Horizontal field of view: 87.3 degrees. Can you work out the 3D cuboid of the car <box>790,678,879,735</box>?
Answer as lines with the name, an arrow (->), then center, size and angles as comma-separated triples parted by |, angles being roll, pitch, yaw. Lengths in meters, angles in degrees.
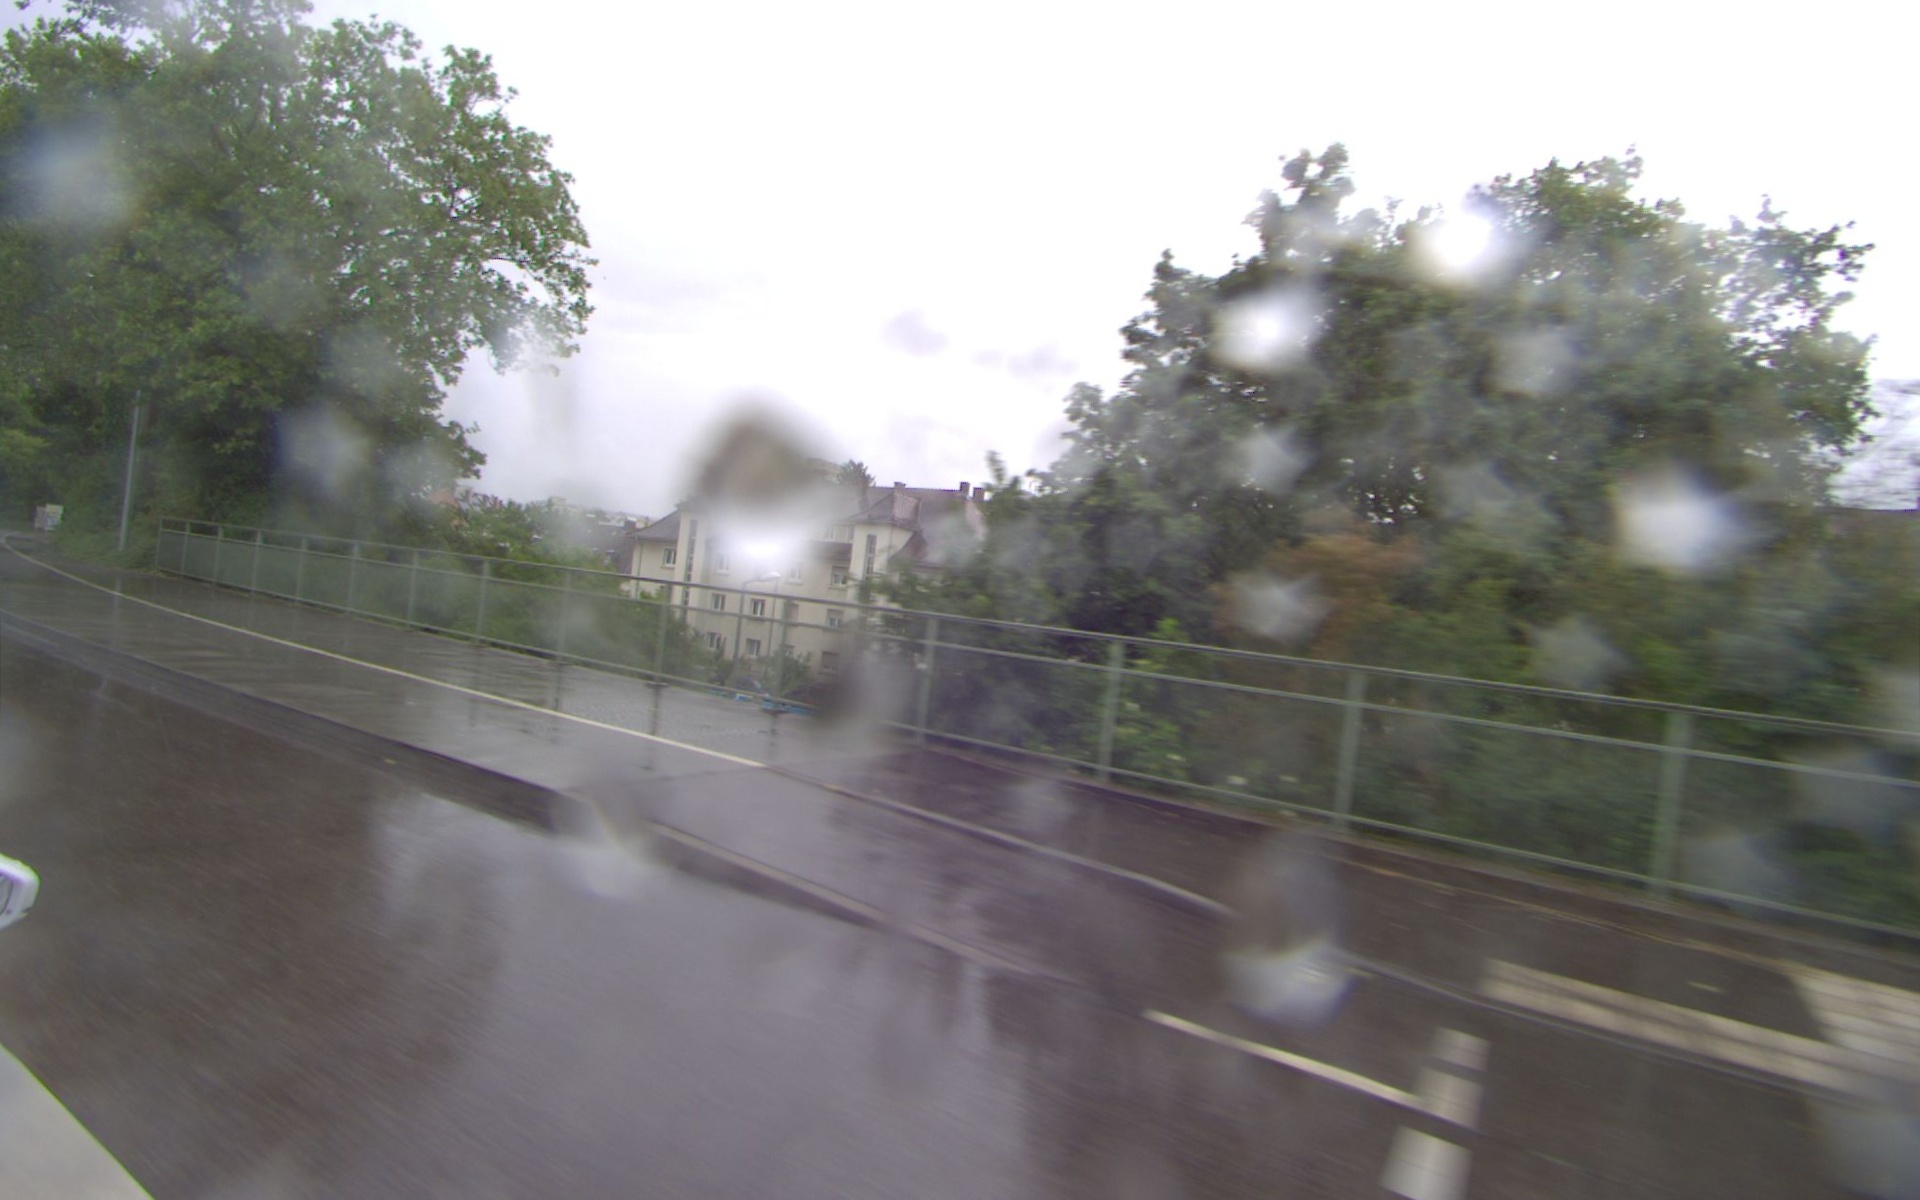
car -> -7.234, 6.073, 57.700 | 4.460, 2.549, 2.242 | 6, -1, 34
